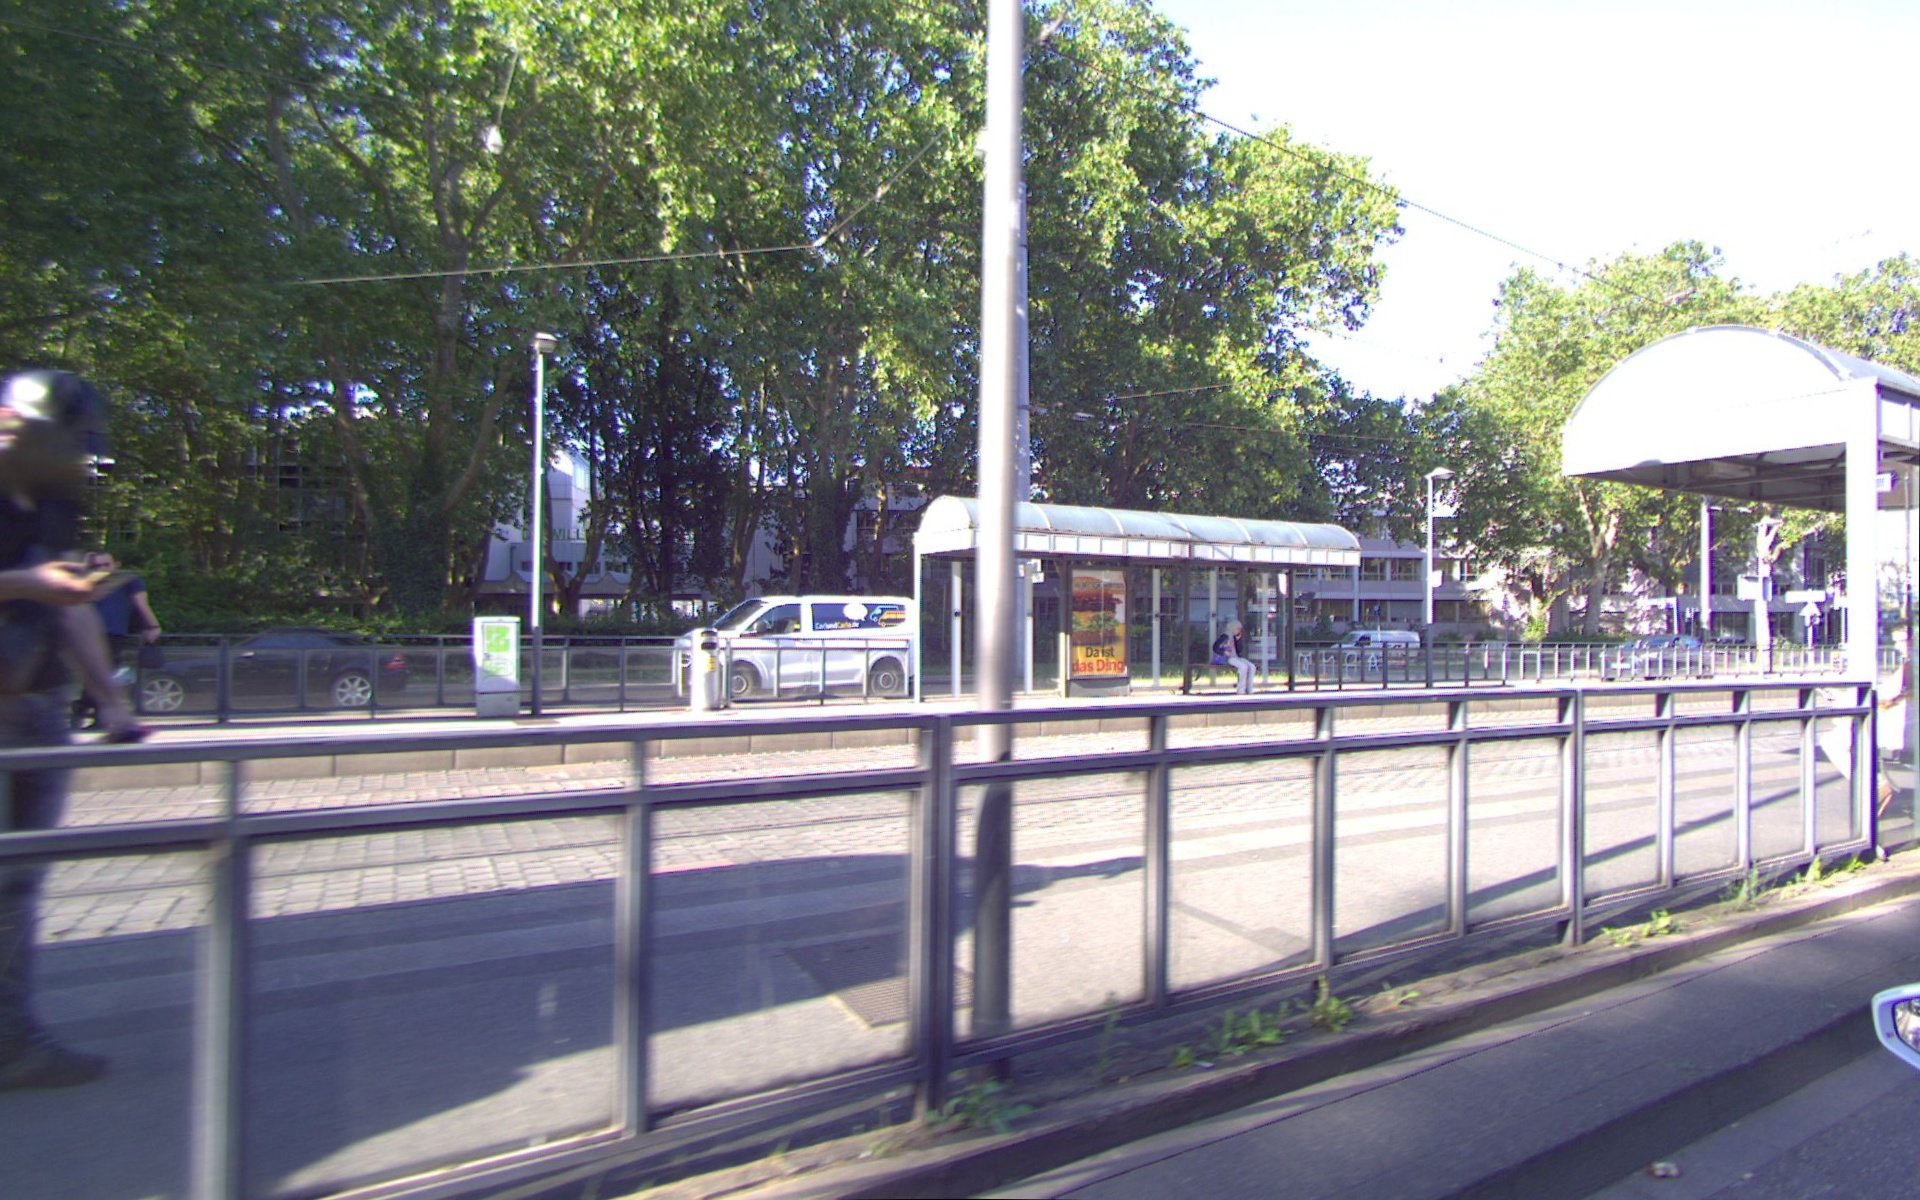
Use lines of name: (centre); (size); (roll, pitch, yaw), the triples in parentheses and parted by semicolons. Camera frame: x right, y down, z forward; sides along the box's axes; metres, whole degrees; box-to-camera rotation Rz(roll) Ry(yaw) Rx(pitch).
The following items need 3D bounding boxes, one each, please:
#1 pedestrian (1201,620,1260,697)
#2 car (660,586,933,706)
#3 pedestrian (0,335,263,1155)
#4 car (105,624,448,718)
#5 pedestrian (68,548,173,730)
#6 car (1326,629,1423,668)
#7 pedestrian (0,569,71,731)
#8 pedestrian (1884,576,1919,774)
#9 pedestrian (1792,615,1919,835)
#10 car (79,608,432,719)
pedestrian: (4.842, 1.046, 17.988); (0.748, 1.342, 0.666); (2, -4, -32)
car: (-3.224, 0.962, 20.256); (5.034, 2.152, 2.056); (2, -3, -32)
pedestrian: (-2.261, 0.309, 2.404); (0.641, 1.745, 0.710); (2, 0, 25)
car: (-10.618, 1.110, 15.989); (4.267, 1.309, 1.761); (2, -3, -32)
pedestrian: (-8.638, 0.398, 10.365); (0.642, 1.795, 0.645); (2, 0, -27)
car: (27.400, 3.198, 66.500); (5.616, 2.366, 2.156); (1, -1, -7)
pedestrian: (-9.325, 0.482, 9.944); (0.619, 1.564, 0.590); (2, 0, -29)
pedestrian: (8.543, 0.651, 8.705); (0.581, 1.700, 0.593); (2, 0, -25)
pedestrian: (5.966, 0.773, 6.526); (0.586, 1.326, 0.675); (2, 0, -29)
car: (-10.821, 0.993, 15.837); (4.293, 1.530, 1.785); (2, -3, -32)
